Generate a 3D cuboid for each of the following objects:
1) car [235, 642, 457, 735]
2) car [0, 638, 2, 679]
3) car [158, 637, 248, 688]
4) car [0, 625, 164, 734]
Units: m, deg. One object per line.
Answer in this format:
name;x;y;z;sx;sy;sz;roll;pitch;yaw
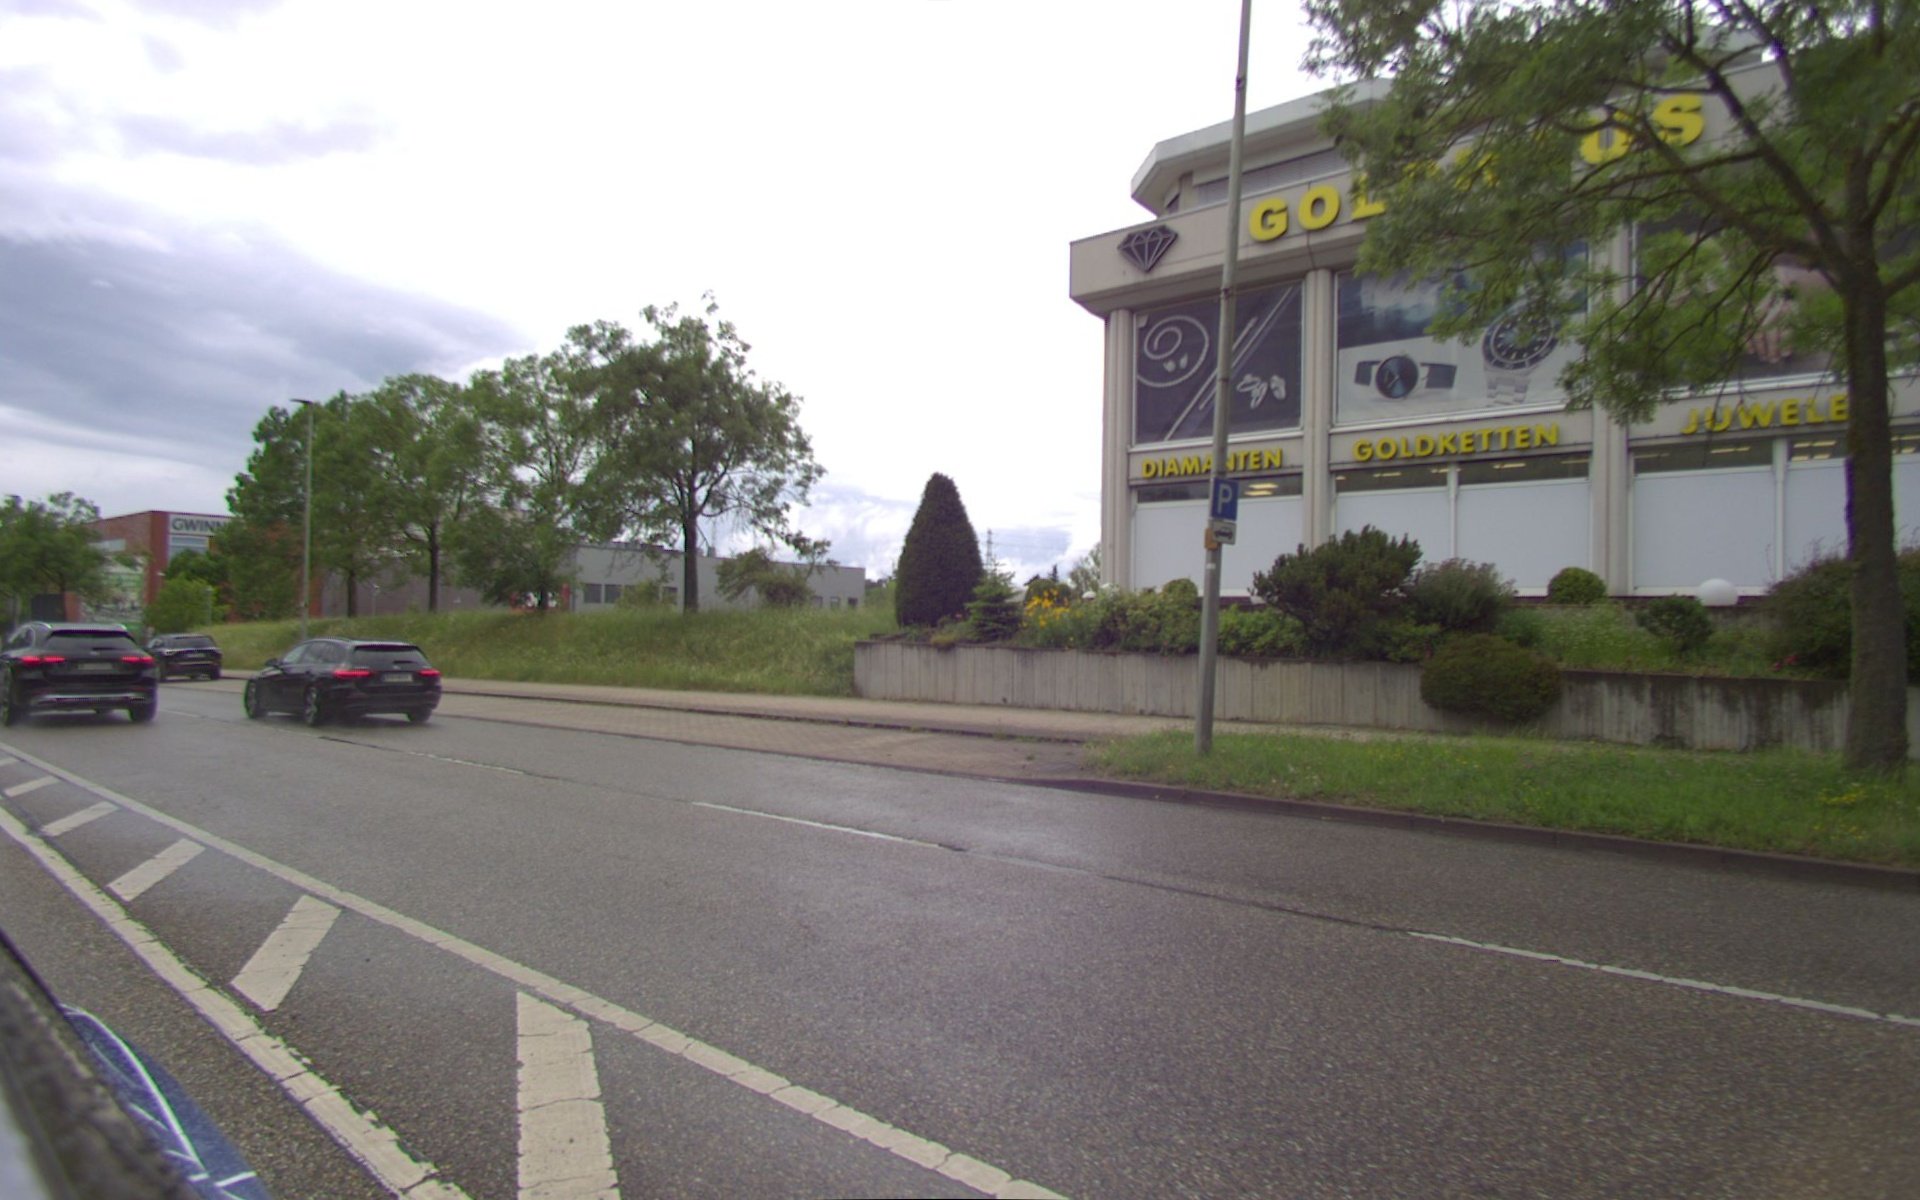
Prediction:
car;-10.642;1.447;17.435;4.292;1.412;1.776;-2;-4;37
car;-29.664;1.927;29.649;4.194;1.596;1.777;-3;-4;39
car;-27.273;2.233;36.411;4.485;1.681;1.708;-3;-2;41
car;-15.178;1.272;17.132;4.281;1.620;1.804;-2;-4;40
